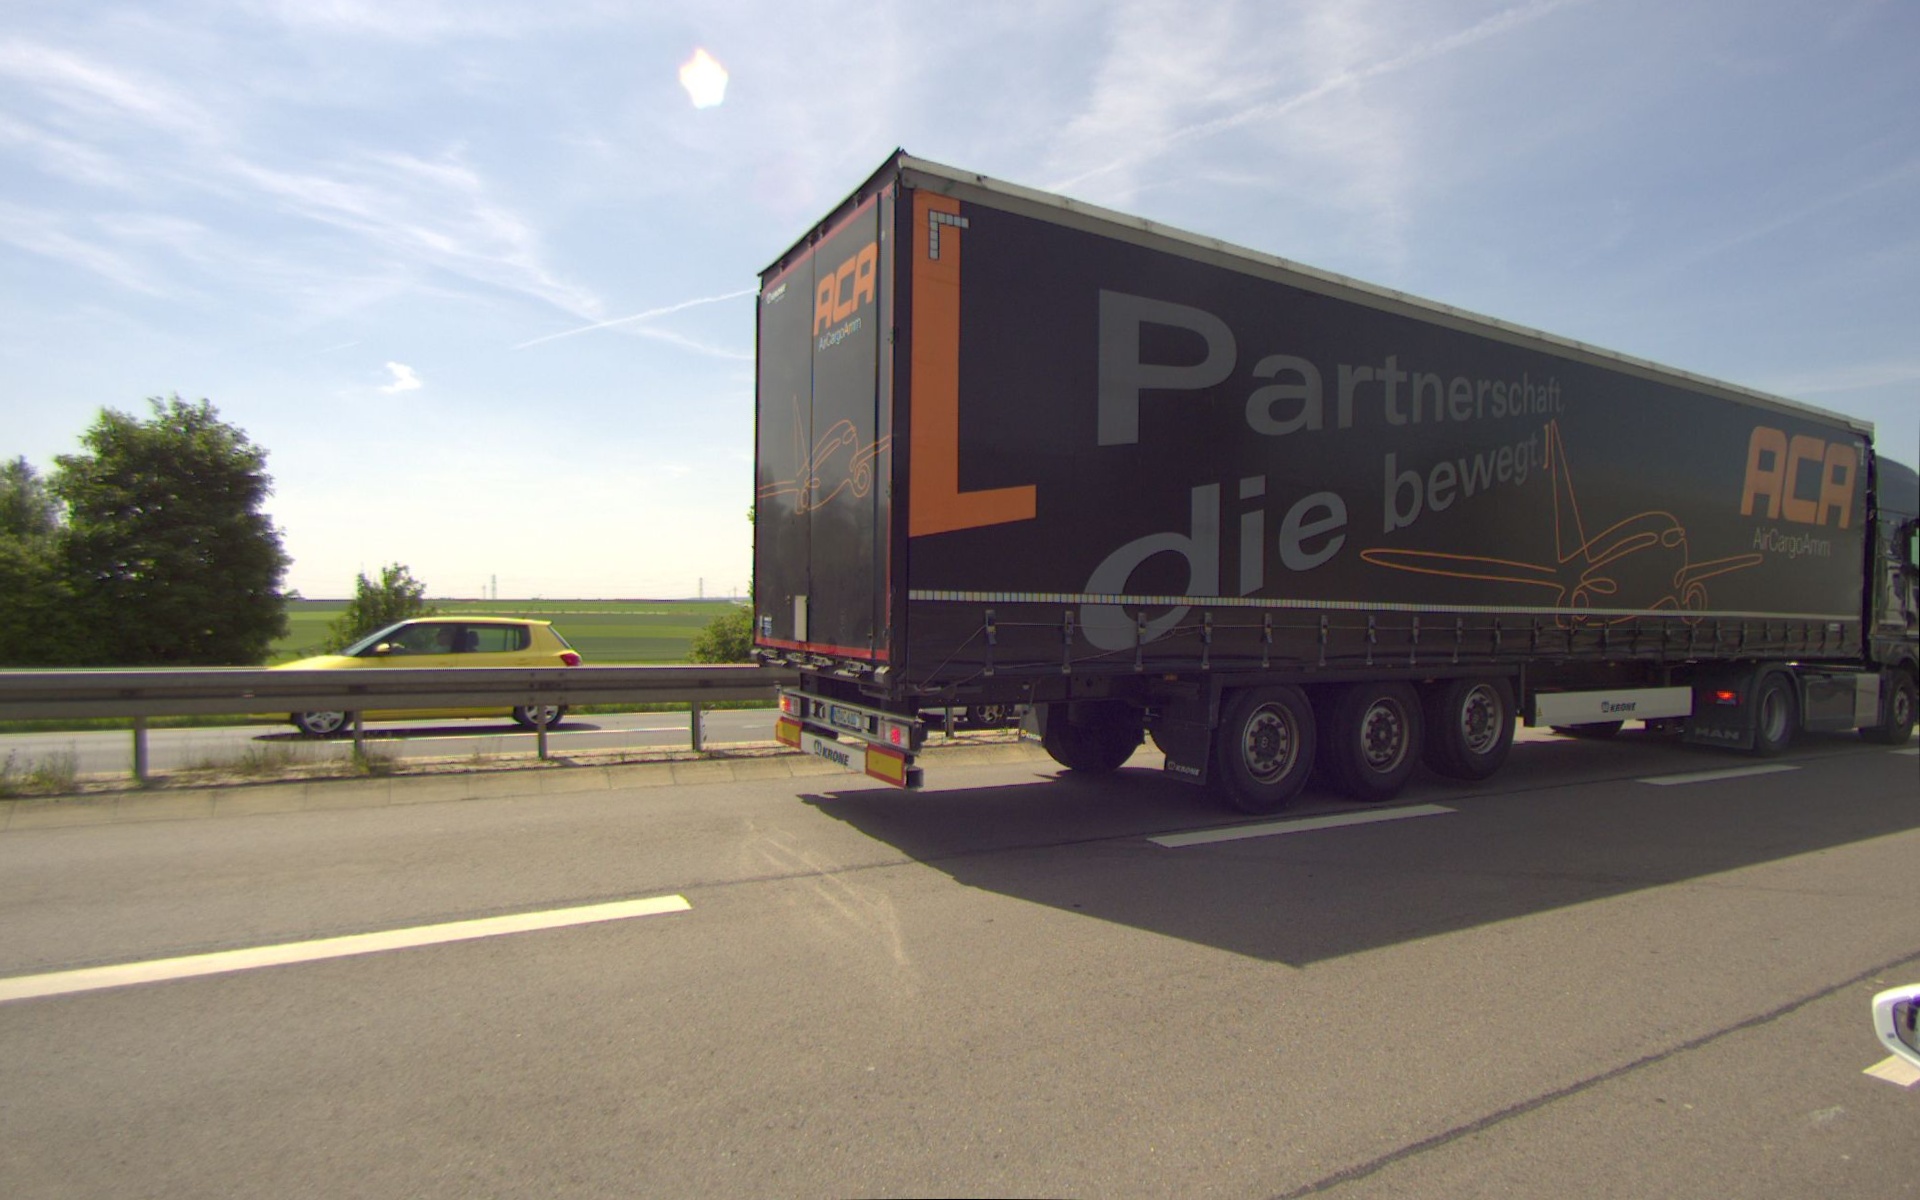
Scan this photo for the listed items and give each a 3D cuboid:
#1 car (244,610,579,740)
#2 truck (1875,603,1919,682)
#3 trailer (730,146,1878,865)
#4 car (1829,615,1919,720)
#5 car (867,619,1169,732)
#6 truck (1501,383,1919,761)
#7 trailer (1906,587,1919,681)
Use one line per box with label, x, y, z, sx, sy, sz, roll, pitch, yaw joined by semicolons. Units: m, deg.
car;-7.075;0.942;13.211;3.662;1.500;1.506;1;-3;-32
truck;39.452;1.738;39.937;5.916;3.053;2.788;2;-2;-29
trailer;4.780;-0.341;10.201;13.625;3.965;2.770;2;0;-30
car;17.440;1.169;17.780;4.298;1.679;1.846;2;0;-31
car;0.912;1.085;14.889;4.276;1.461;1.727;2;-3;-32
truck;10.379;-0.230;13.489;5.901;4.067;2.770;2;0;-30
trailer;47.935;1.719;44.445;19.549;3.813;2.629;2;-2;-28
